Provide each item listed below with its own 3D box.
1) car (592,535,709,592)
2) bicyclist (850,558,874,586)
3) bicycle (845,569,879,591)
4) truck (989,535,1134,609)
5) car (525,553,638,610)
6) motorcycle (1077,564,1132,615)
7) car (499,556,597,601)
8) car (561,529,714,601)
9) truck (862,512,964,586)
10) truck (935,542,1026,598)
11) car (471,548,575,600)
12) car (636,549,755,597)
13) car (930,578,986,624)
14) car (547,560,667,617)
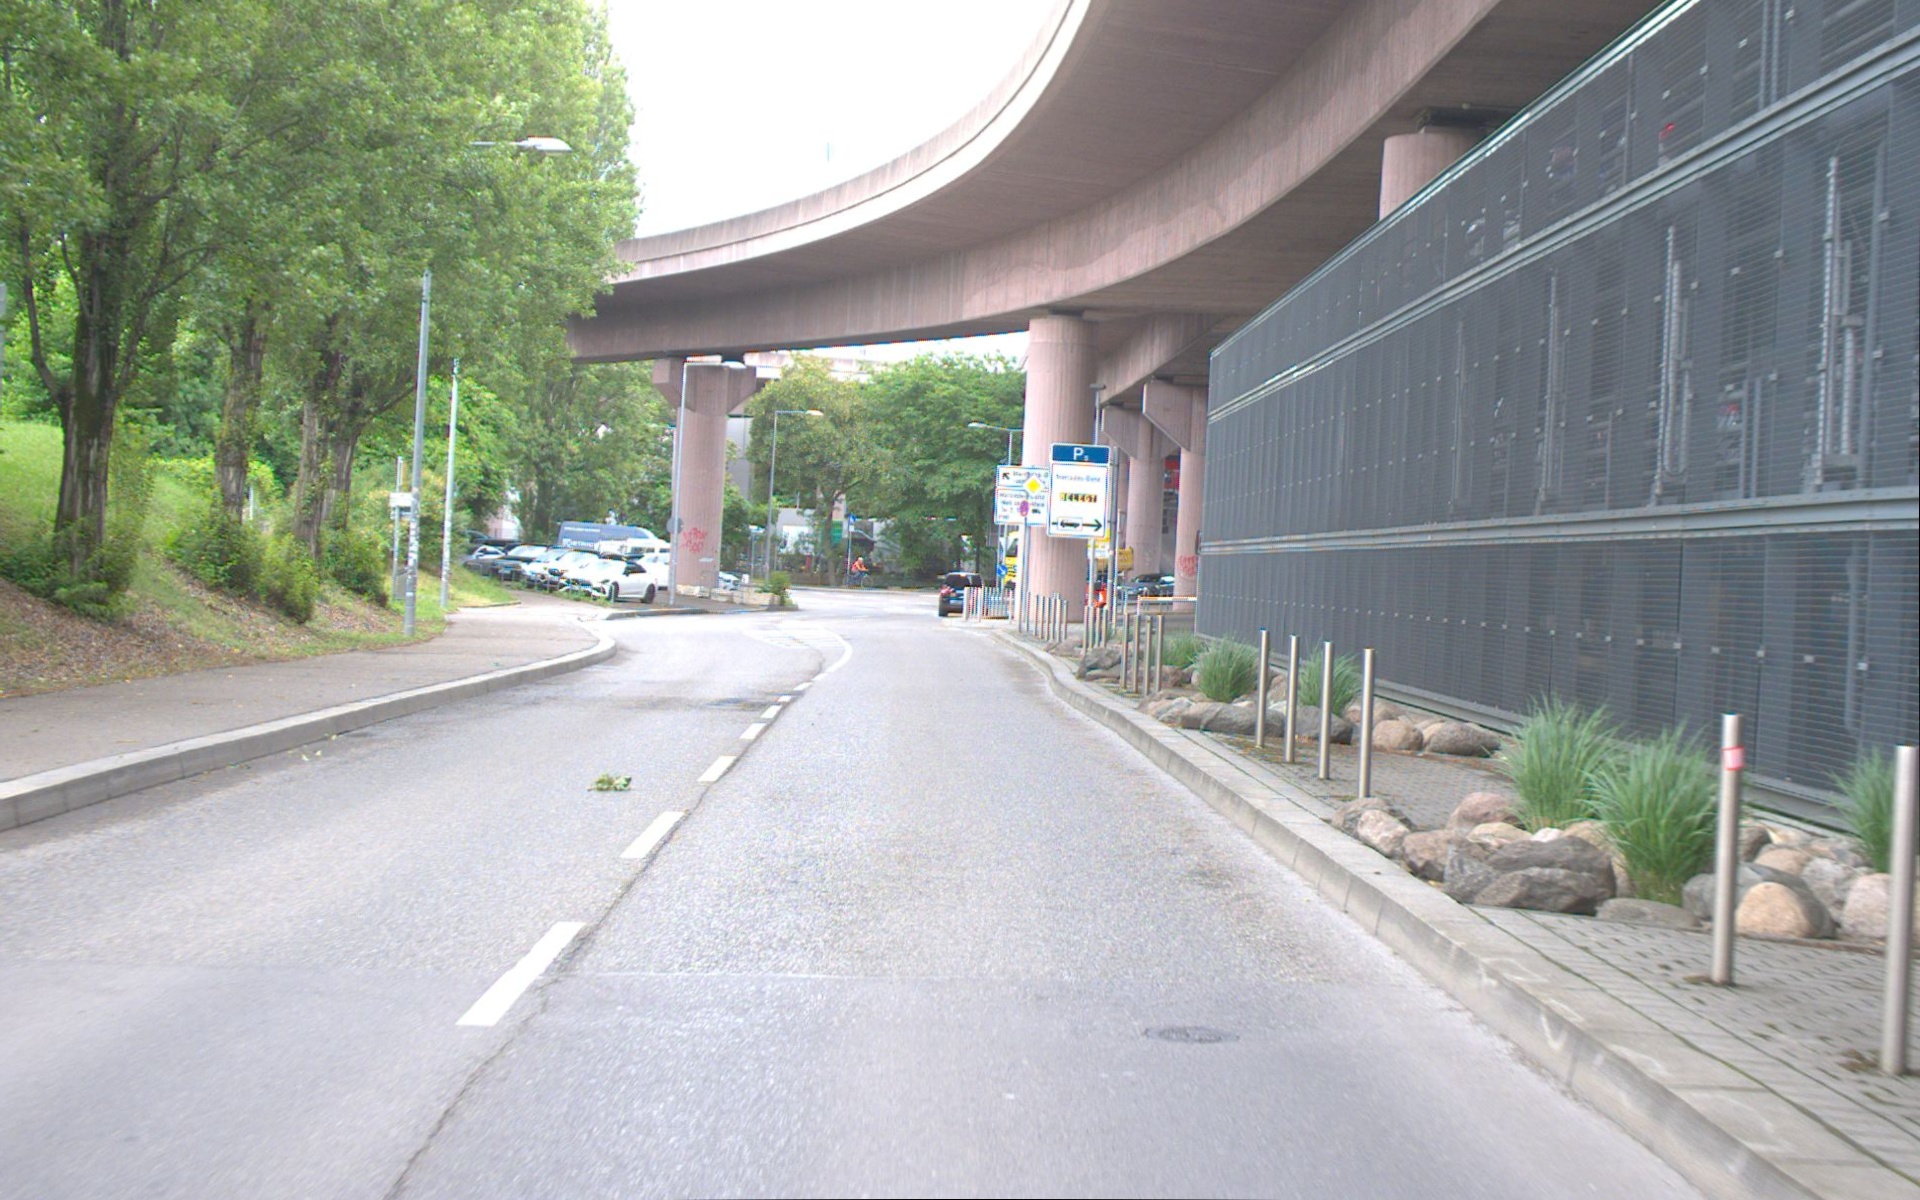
[{"bbox_3d":[-13.209,-1.548,146.725,4.557,2.104,1.850,4,0,8],"label":"car"},{"bbox_3d":[-5.101,-1.465,179.516,0.796,1.400,1.066,1,0,-32],"label":"bicyclist"},{"bbox_3d":[-5.123,-1.035,179.538,0.802,1.094,2.131,1,0,-32],"label":"bicycle"},{"bbox_3d":[5.320,-1.487,177.962,2.934,3.469,8.226,6,5,39],"label":"truck"},{"bbox_3d":[-13.202,-0.624,120.137,1.996,1.577,4.395,7,0,21],"label":"car"},{"bbox_3d":[4.019,-0.299,95.757,0.795,1.362,2.130,1,1,-17],"label":"motorcycle"},{"bbox_3d":[-14.752,-0.774,123.298,1.789,1.449,3.742,3,0,23],"label":"car"},{"bbox_3d":[-14.003,-1.513,149.611,6.176,2.715,2.367,4,1,5],"label":"car"},{"bbox_3d":[-2.737,-2.932,195.581,3.065,3.854,8.051,1,2,-21],"label":"truck"},{"bbox_3d":[1.153,-1.749,196.803,2.914,2.889,6.560,1,2,-21],"label":"truck"},{"bbox_3d":[-16.057,-0.940,126.512,1.859,1.685,4.158,3,0,23],"label":"car"},{"bbox_3d":[-10.844,-1.090,141.134,4.383,1.600,1.953,5,1,13],"label":"car"},{"bbox_3d":[-0.088,0.014,134.016,1.993,1.673,4.561,3,0,-1],"label":"car"},{"bbox_3d":[-11.898,-0.379,116.306,1.996,1.475,4.823,6,0,20],"label":"car"}]
